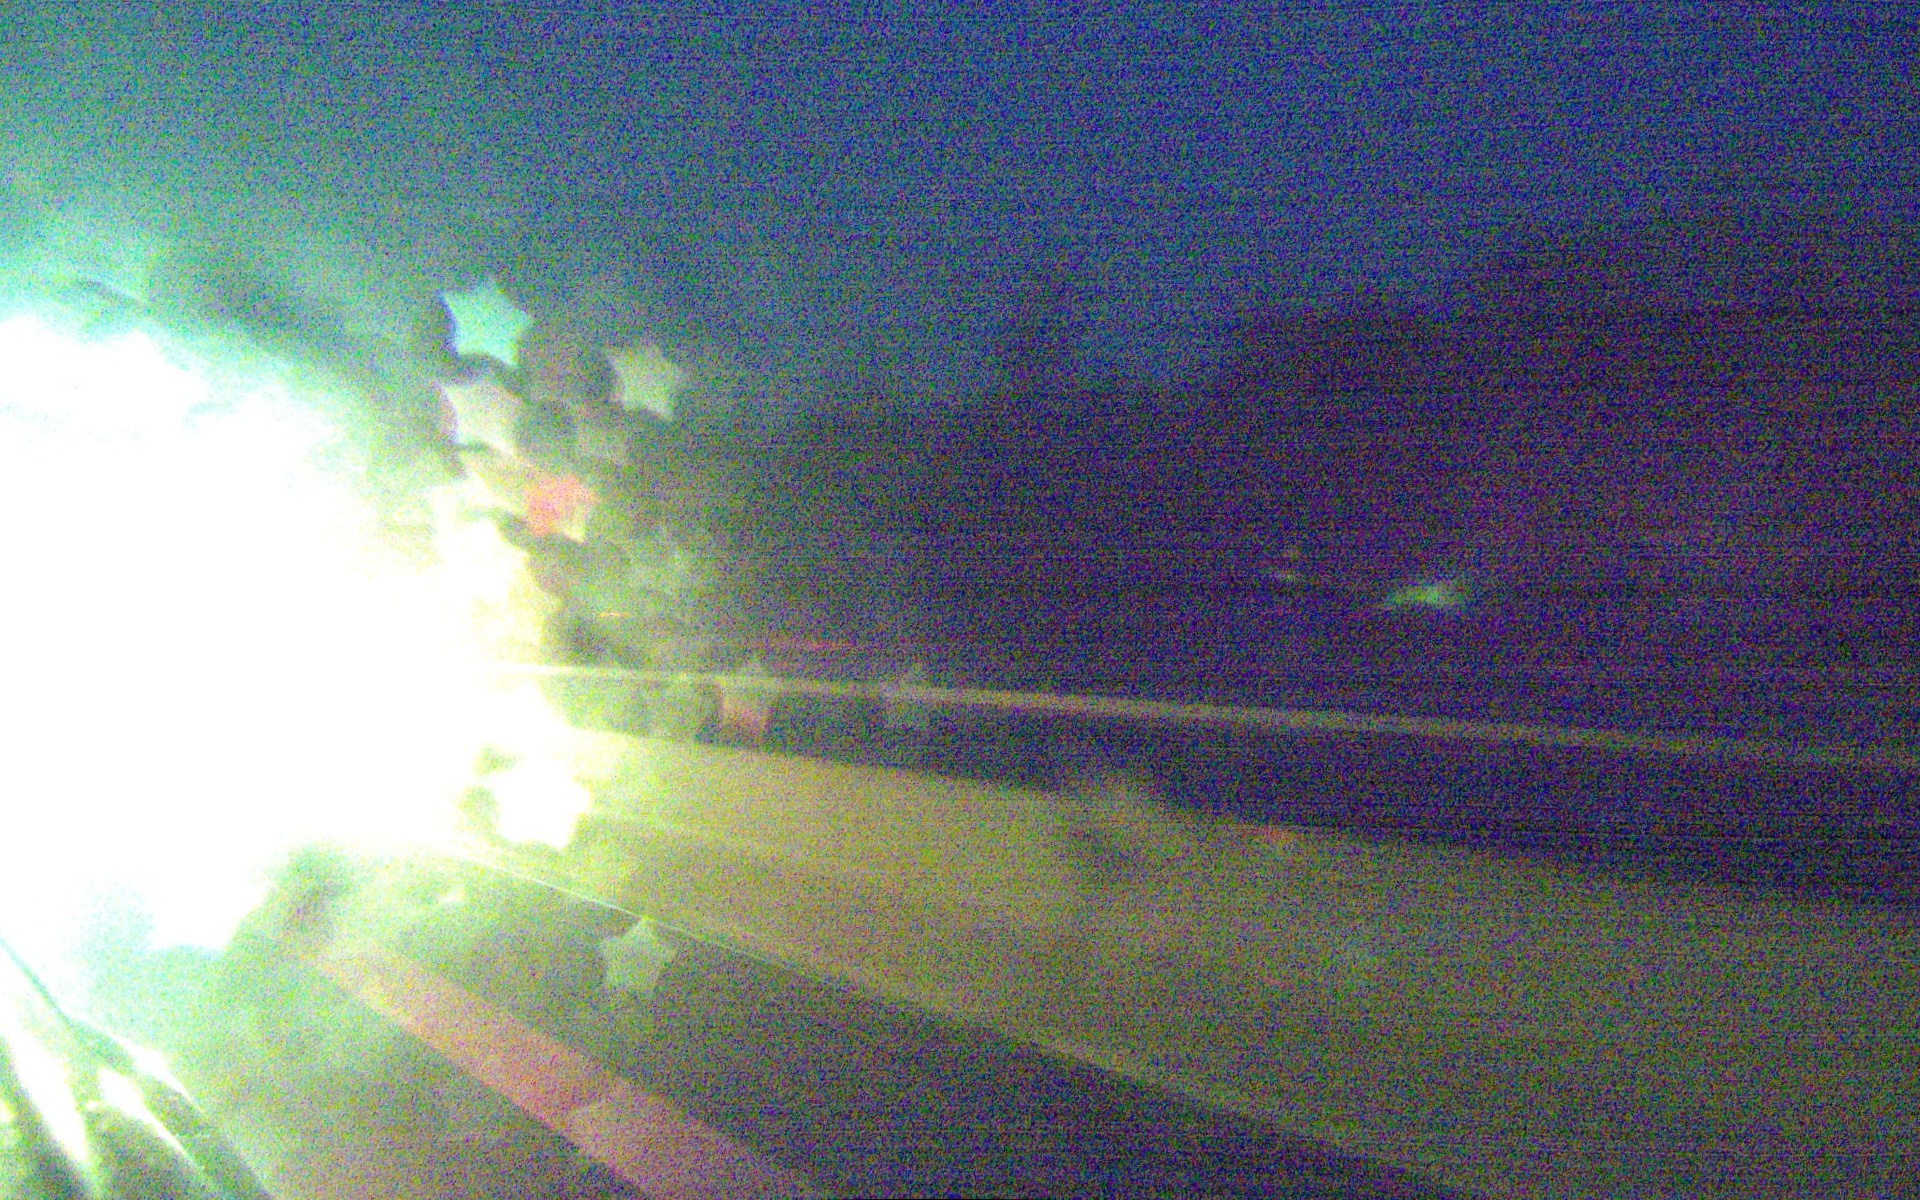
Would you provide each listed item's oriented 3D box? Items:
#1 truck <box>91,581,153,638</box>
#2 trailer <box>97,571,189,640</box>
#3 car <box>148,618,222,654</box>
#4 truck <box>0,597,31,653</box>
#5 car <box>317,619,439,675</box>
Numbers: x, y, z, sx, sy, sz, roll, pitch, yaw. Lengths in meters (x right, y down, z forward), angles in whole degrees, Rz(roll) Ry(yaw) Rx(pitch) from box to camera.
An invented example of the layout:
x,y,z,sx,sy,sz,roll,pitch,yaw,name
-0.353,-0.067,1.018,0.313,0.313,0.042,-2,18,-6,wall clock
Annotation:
x,y,z,sx,sy,sz,roll,pitch,yaw,name
-64.560,0.687,77.928,5.675,4.143,2.579,-1,2,41,truck
-59.404,0.409,73.396,13.714,4.578,2.596,-1,2,41,trailer
-37.767,1.698,49.282,4.668,1.536,1.973,-1,2,42,car
-114.854,2.887,121.066,16.615,6.148,3.295,0,3,41,truck
-18.811,1.443,32.637,4.668,1.536,1.973,-1,2,42,car
